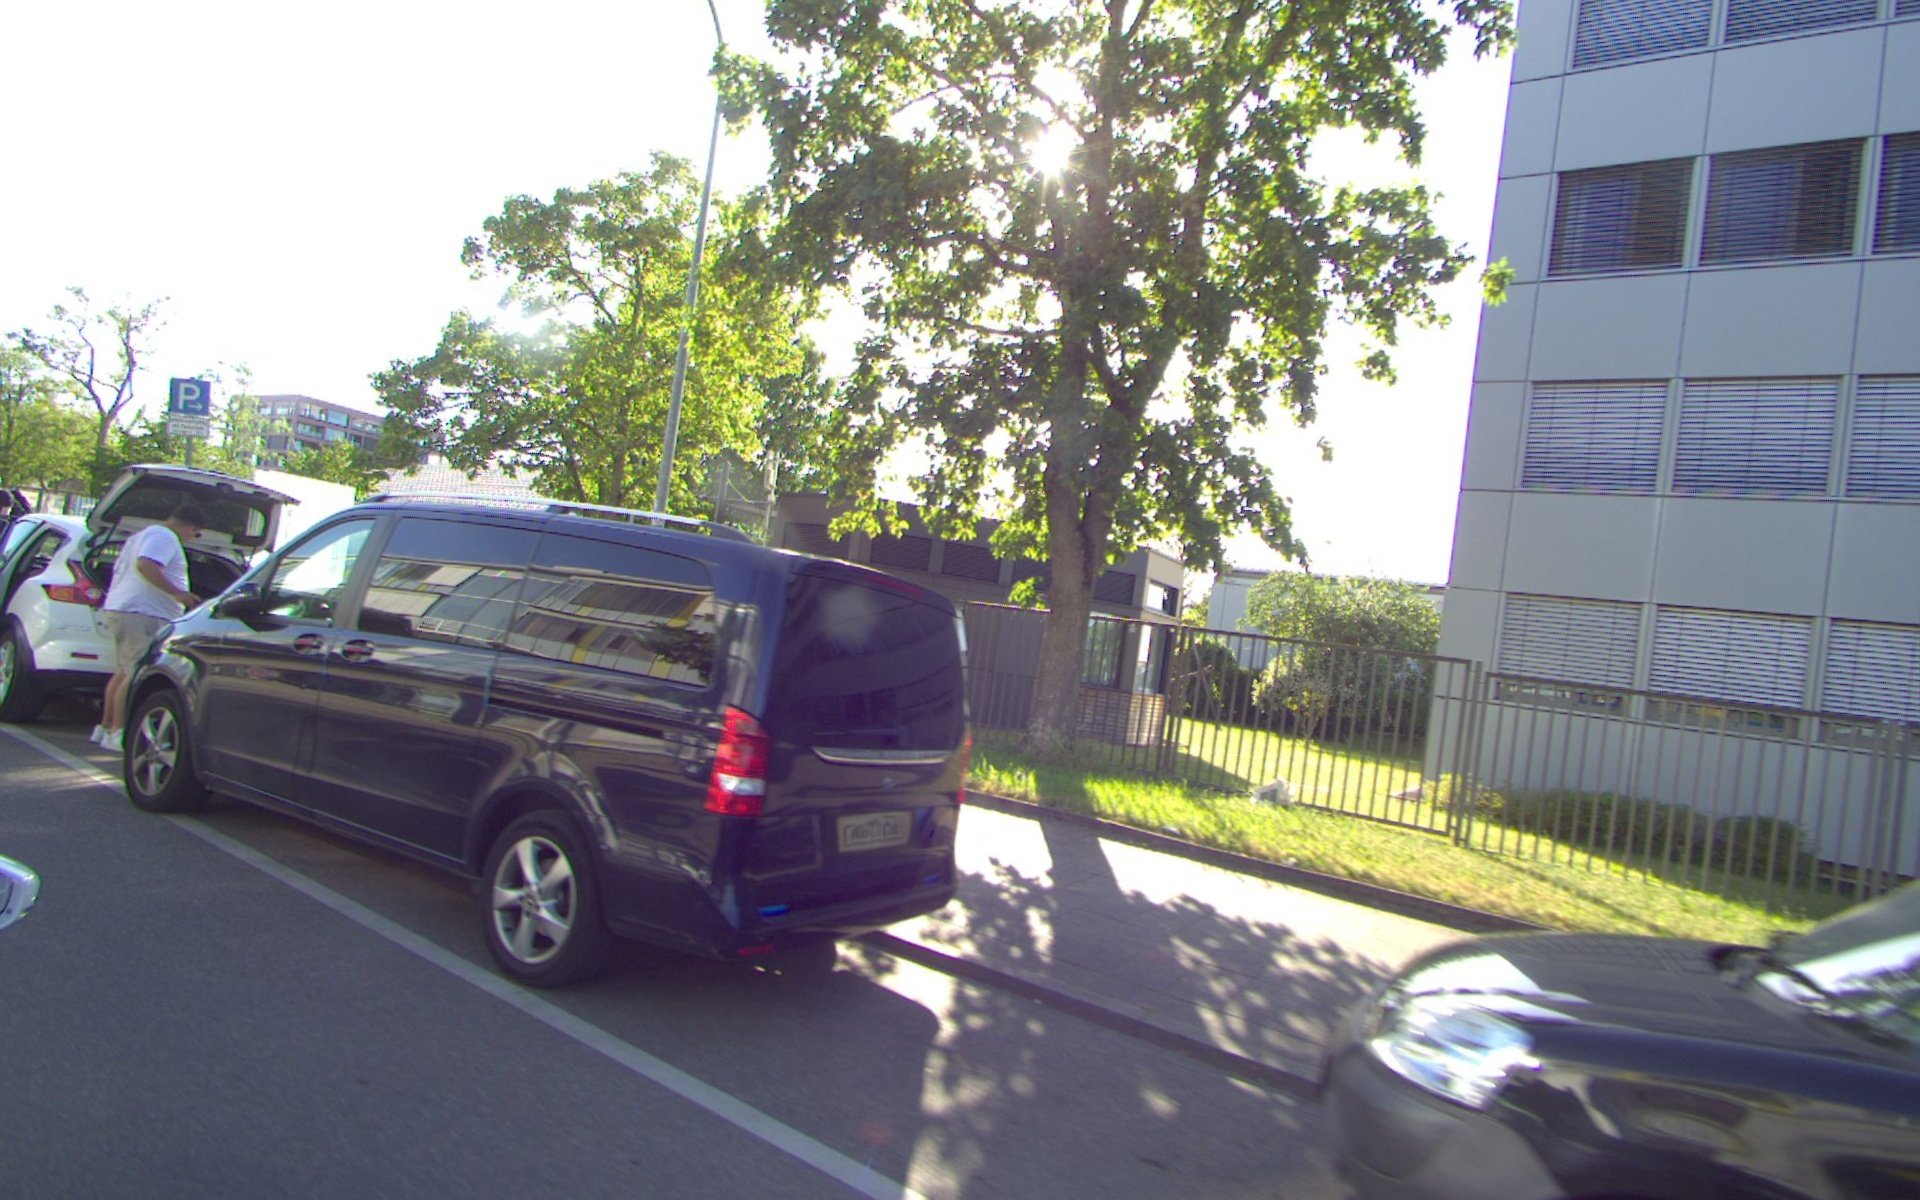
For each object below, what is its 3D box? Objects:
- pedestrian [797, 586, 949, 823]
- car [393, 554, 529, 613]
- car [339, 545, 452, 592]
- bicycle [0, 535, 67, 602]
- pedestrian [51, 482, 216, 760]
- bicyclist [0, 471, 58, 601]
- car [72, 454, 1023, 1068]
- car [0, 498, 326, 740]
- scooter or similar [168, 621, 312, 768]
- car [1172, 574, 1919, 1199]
[{"bbox_3d":[-0.697,0.827,8.177,0.763,1.749,0.692,7,0,32],"label":"pedestrian"},{"bbox_3d":[-20.546,-0.635,41.617,1.965,1.687,4.644,7,-3,27],"label":"car"},{"bbox_3d":[-24.663,-1.351,44.081,1.647,1.395,3.900,7,-3,29],"label":"car"},{"bbox_3d":[-15.598,-0.523,16.207,0.688,1.021,1.884,8,0,-2],"label":"bicycle"},{"bbox_3d":[-5.664,0.143,6.925,0.587,1.764,0.697,11,-4,-39],"label":"pedestrian"},{"bbox_3d":[-15.524,-1.059,16.121,0.942,2.038,1.052,8,1,-2],"label":"bicyclist"},{"bbox_3d":[-2.395,0.481,5.415,4.936,1.889,1.871,7,-4,30],"label":"car"},{"bbox_3d":[-7.400,0.050,8.584,4.047,1.529,1.669,7,-4,33],"label":"car"},{"bbox_3d":[-5.244,0.683,7.322,0.689,0.915,0.697,12,-4,-39],"label":"scooter or similar"},{"bbox_3d":[2.819,1.166,2.064,4.224,1.813,1.707,7,-4,33],"label":"car"}]
